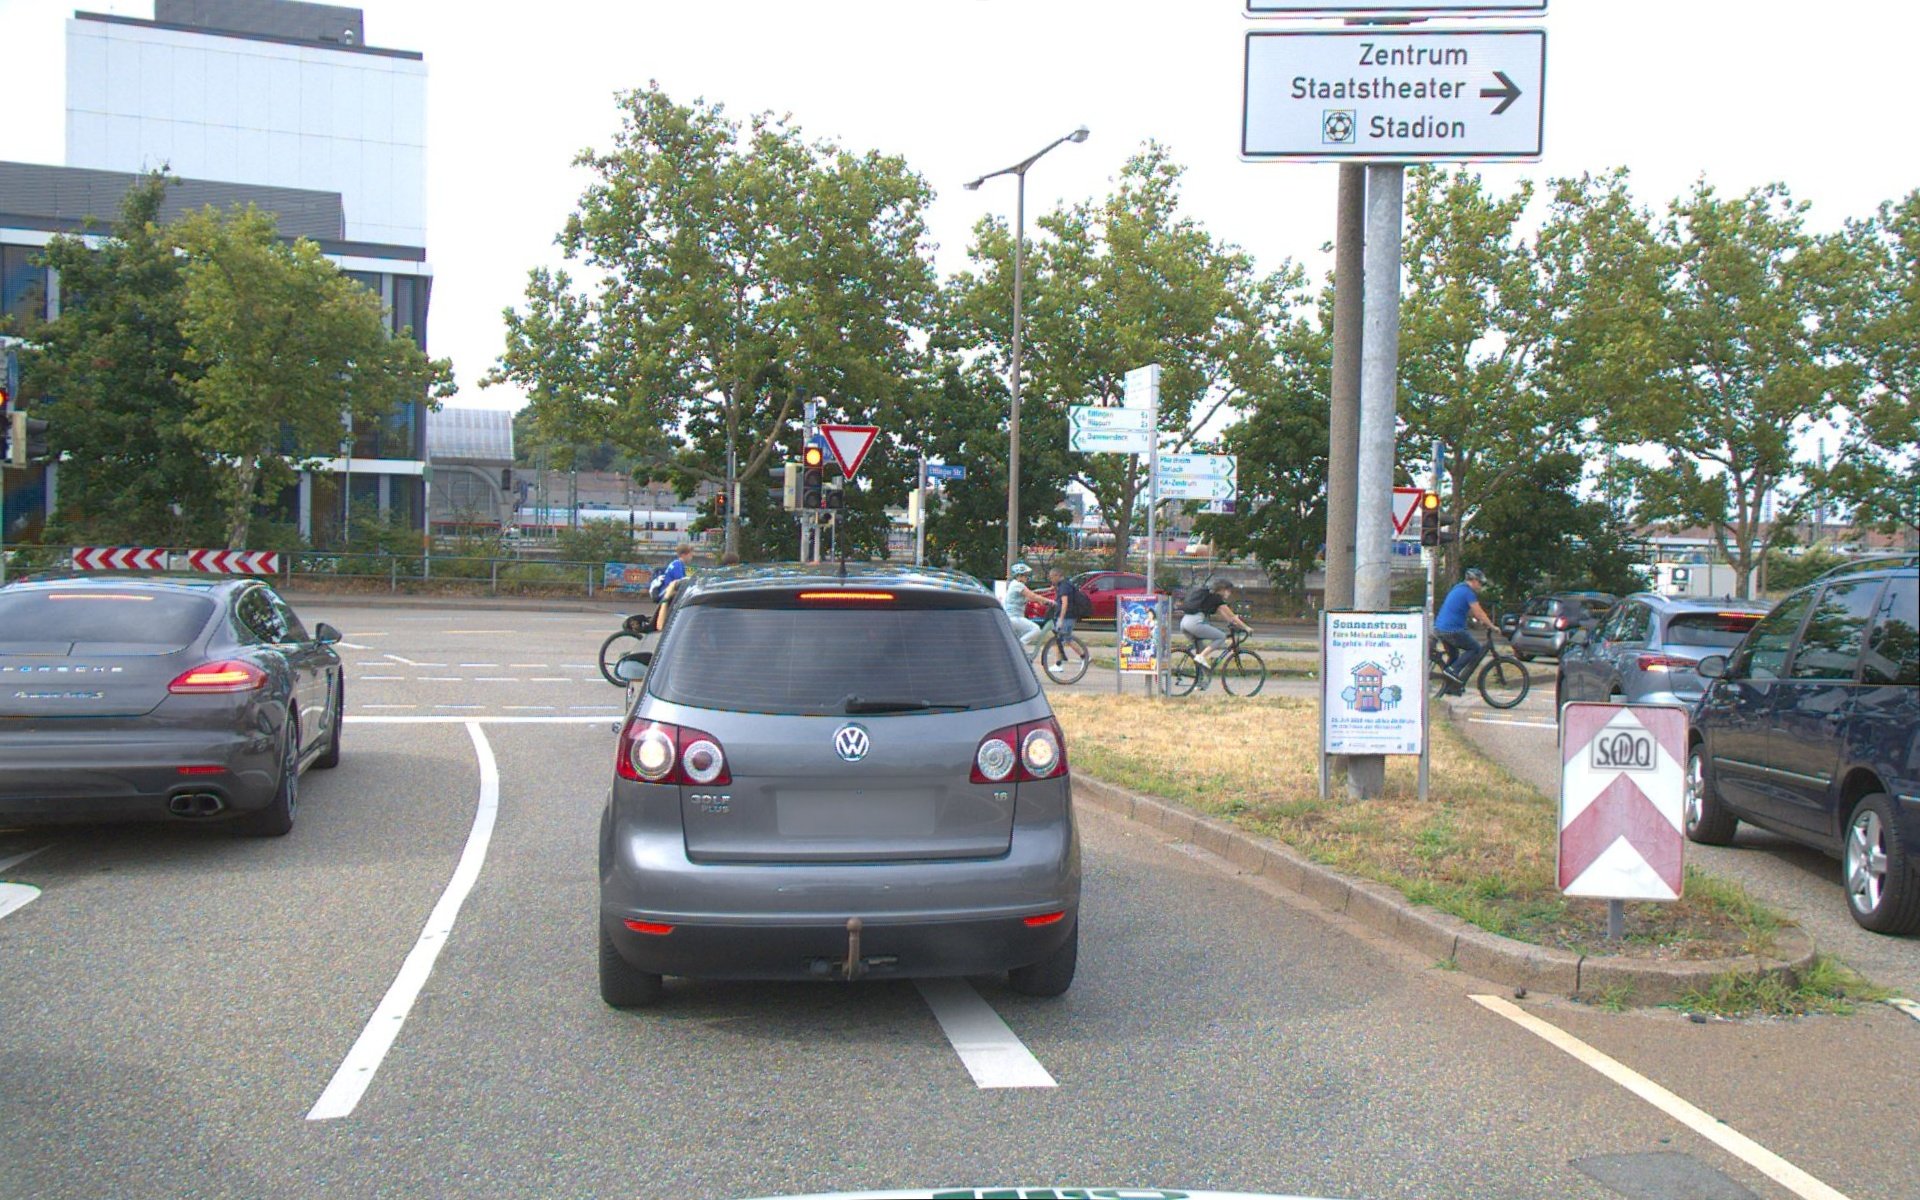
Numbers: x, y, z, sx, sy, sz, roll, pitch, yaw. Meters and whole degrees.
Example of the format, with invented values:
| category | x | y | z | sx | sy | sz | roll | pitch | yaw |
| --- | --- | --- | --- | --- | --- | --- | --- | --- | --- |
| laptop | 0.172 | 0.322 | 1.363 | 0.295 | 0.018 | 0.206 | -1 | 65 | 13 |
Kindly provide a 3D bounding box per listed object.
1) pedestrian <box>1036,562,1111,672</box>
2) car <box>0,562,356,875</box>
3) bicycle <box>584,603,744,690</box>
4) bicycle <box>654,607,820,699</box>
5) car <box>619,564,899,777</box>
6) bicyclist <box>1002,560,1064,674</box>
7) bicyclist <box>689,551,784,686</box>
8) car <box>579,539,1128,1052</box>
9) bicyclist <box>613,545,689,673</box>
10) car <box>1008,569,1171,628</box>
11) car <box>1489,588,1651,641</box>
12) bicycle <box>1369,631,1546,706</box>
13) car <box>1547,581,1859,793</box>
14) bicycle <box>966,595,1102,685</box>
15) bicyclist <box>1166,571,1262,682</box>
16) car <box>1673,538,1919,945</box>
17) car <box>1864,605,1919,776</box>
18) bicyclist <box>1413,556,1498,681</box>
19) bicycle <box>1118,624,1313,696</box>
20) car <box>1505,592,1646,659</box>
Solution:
| category | x | y | z | sx | sy | sz | roll | pitch | yaw |
| --- | --- | --- | --- | --- | --- | --- | --- | --- | --- |
| pedestrian | 1.878 | 0.266 | 27.269 | 1.025 | 1.740 | 0.854 | 2 | 1 | 17 |
| car | -4.849 | 0.520 | 10.115 | 1.789 | 1.438 | 4.756 | 1 | 1 | -16 |
| bicycle | -3.678 | 0.575 | 20.542 | 1.873 | 1.031 | 0.625 | 1 | 1 | -20 |
| bicycle | -2.641 | 0.624 | 19.604 | 1.871 | 1.031 | 0.625 | 1 | 1 | -18 |
| car | -1.836 | 0.482 | 13.913 | 1.713 | 1.508 | 4.064 | 1 | 1 | -16 |
| bicyclist | 1.049 | 0.231 | 23.846 | 0.764 | 1.608 | 0.654 | 1 | 1 | -7 |
| bicyclist | -2.649 | 0.211 | 19.577 | 1.000 | 1.566 | 0.625 | 1 | 1 | -17 |
| car | -0.608 | 0.587 | 7.215 | 1.709 | 1.573 | 4.074 | 1 | 0 | -9 |
| bicyclist | -3.834 | 0.105 | 20.489 | 0.826 | 1.556 | 0.625 | 1 | 1 | -20 |
| car | 3.382 | -0.033 | 43.262 | 3.894 | 1.473 | 1.692 | 1 | 1 | -21 |
| car | 17.778 | 0.427 | 48.229 | 4.260 | 1.473 | 1.753 | 1 | 1 | -18 |
| bicycle | 6.830 | 0.937 | 22.770 | 2.185 | 0.969 | 0.811 | 1 | 1 | -6 |
| car | 6.735 | 0.703 | 15.445 | 1.655 | 1.613 | 4.160 | 3 | 0 | 11 |
| bicycle | 1.054 | 0.570 | 23.867 | 1.865 | 1.231 | 0.642 | 1 | 1 | -7 |
| bicyclist | 3.418 | 0.351 | 22.310 | 1.096 | 1.461 | 0.645 | 0 | 1 | -17 |
| car | 5.263 | 0.654 | 8.686 | 1.713 | 1.754 | 4.141 | 3 | 0 | 9 |
| car | 10.162 | 0.928 | 15.457 | 1.713 | 1.671 | 4.141 | 3 | 0 | 10 |
| bicyclist | 6.810 | 0.246 | 22.765 | 0.863 | 1.685 | 0.811 | 1 | 1 | -5 |
| bicycle | 3.452 | 0.806 | 22.320 | 2.542 | 0.905 | 0.701 | 1 | 1 | -17 |
| car | 13.888 | 0.570 | 37.328 | 2.672 | 1.447 | 1.490 | 1 | 1 | -22 |
